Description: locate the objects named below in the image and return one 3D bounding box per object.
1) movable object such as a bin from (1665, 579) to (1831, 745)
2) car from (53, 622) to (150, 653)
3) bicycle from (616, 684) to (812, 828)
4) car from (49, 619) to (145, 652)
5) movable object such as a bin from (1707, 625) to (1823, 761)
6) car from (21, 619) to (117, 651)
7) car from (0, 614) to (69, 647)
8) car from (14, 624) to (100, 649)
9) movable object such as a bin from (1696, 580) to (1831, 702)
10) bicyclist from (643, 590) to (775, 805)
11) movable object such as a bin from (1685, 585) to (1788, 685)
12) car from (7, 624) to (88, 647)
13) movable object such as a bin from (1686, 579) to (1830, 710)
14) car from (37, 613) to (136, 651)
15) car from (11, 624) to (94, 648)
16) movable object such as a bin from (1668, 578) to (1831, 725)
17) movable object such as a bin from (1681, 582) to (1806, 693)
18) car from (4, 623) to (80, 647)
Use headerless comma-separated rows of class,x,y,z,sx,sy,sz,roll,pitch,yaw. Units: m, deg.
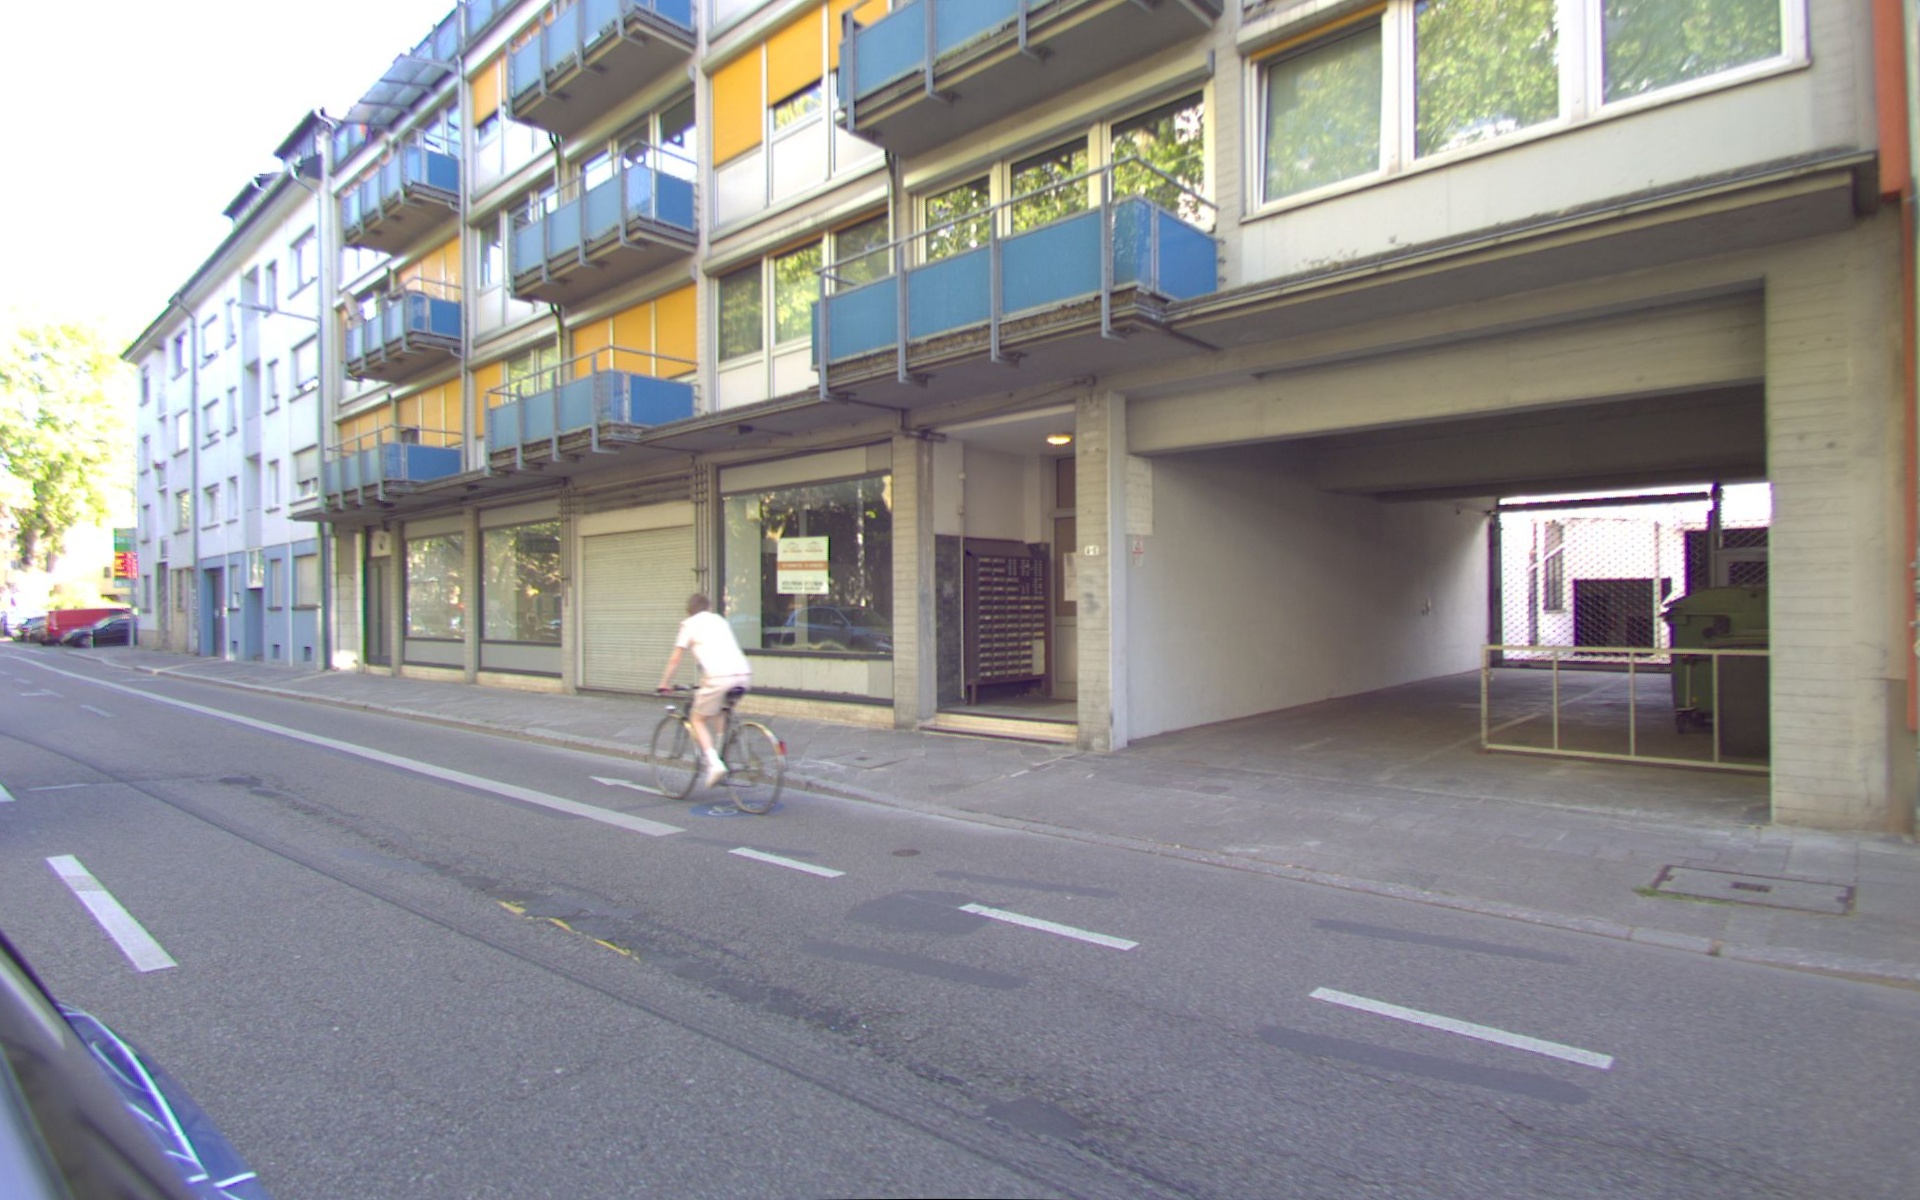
movable object such as a bin,7.688,0.547,9.872,1.143,1.476,1.246,-1,0,44
car,-42.892,1.847,50.602,1.534,1.420,3.550,-2,0,43
bicycle,-1.978,1.170,7.975,1.867,0.898,0.542,-1,0,42
car,-44.578,1.803,52.331,1.602,1.521,3.619,-1,0,43
movable object such as a bin,6.745,0.749,8.481,0.703,1.055,0.563,-1,0,44
car,-49.056,1.892,55.772,1.604,1.598,3.853,-1,0,43
car,-65.435,2.100,71.270,1.725,2.193,3.853,-1,0,43
car,-56.232,2.235,63.067,1.595,1.385,3.853,-1,0,43
movable object such as a bin,10.621,0.506,13.378,1.281,1.506,1.146,-1,0,44
bicyclist,-1.973,0.719,7.945,0.806,1.570,0.641,-1,0,42
movable object such as a bin,12.113,0.515,15.786,1.143,1.476,1.121,-1,0,44
car,-59.990,2.324,66.579,1.526,1.343,3.853,-1,0,43
movable object such as a bin,9.832,0.509,12.471,1.281,1.497,1.146,-1,0,44
car,-46.739,1.671,54.189,1.749,1.921,3.853,-2,-1,43
car,-58.213,2.298,64.984,1.526,1.343,3.853,-1,0,43
movable object such as a bin,8.679,0.523,11.129,1.281,1.484,1.256,-1,-1,44
movable object such as a bin,11.230,0.504,14.508,1.281,1.497,1.146,-1,0,44
car,-61.988,2.315,68.375,1.539,1.451,3.732,-1,0,43
